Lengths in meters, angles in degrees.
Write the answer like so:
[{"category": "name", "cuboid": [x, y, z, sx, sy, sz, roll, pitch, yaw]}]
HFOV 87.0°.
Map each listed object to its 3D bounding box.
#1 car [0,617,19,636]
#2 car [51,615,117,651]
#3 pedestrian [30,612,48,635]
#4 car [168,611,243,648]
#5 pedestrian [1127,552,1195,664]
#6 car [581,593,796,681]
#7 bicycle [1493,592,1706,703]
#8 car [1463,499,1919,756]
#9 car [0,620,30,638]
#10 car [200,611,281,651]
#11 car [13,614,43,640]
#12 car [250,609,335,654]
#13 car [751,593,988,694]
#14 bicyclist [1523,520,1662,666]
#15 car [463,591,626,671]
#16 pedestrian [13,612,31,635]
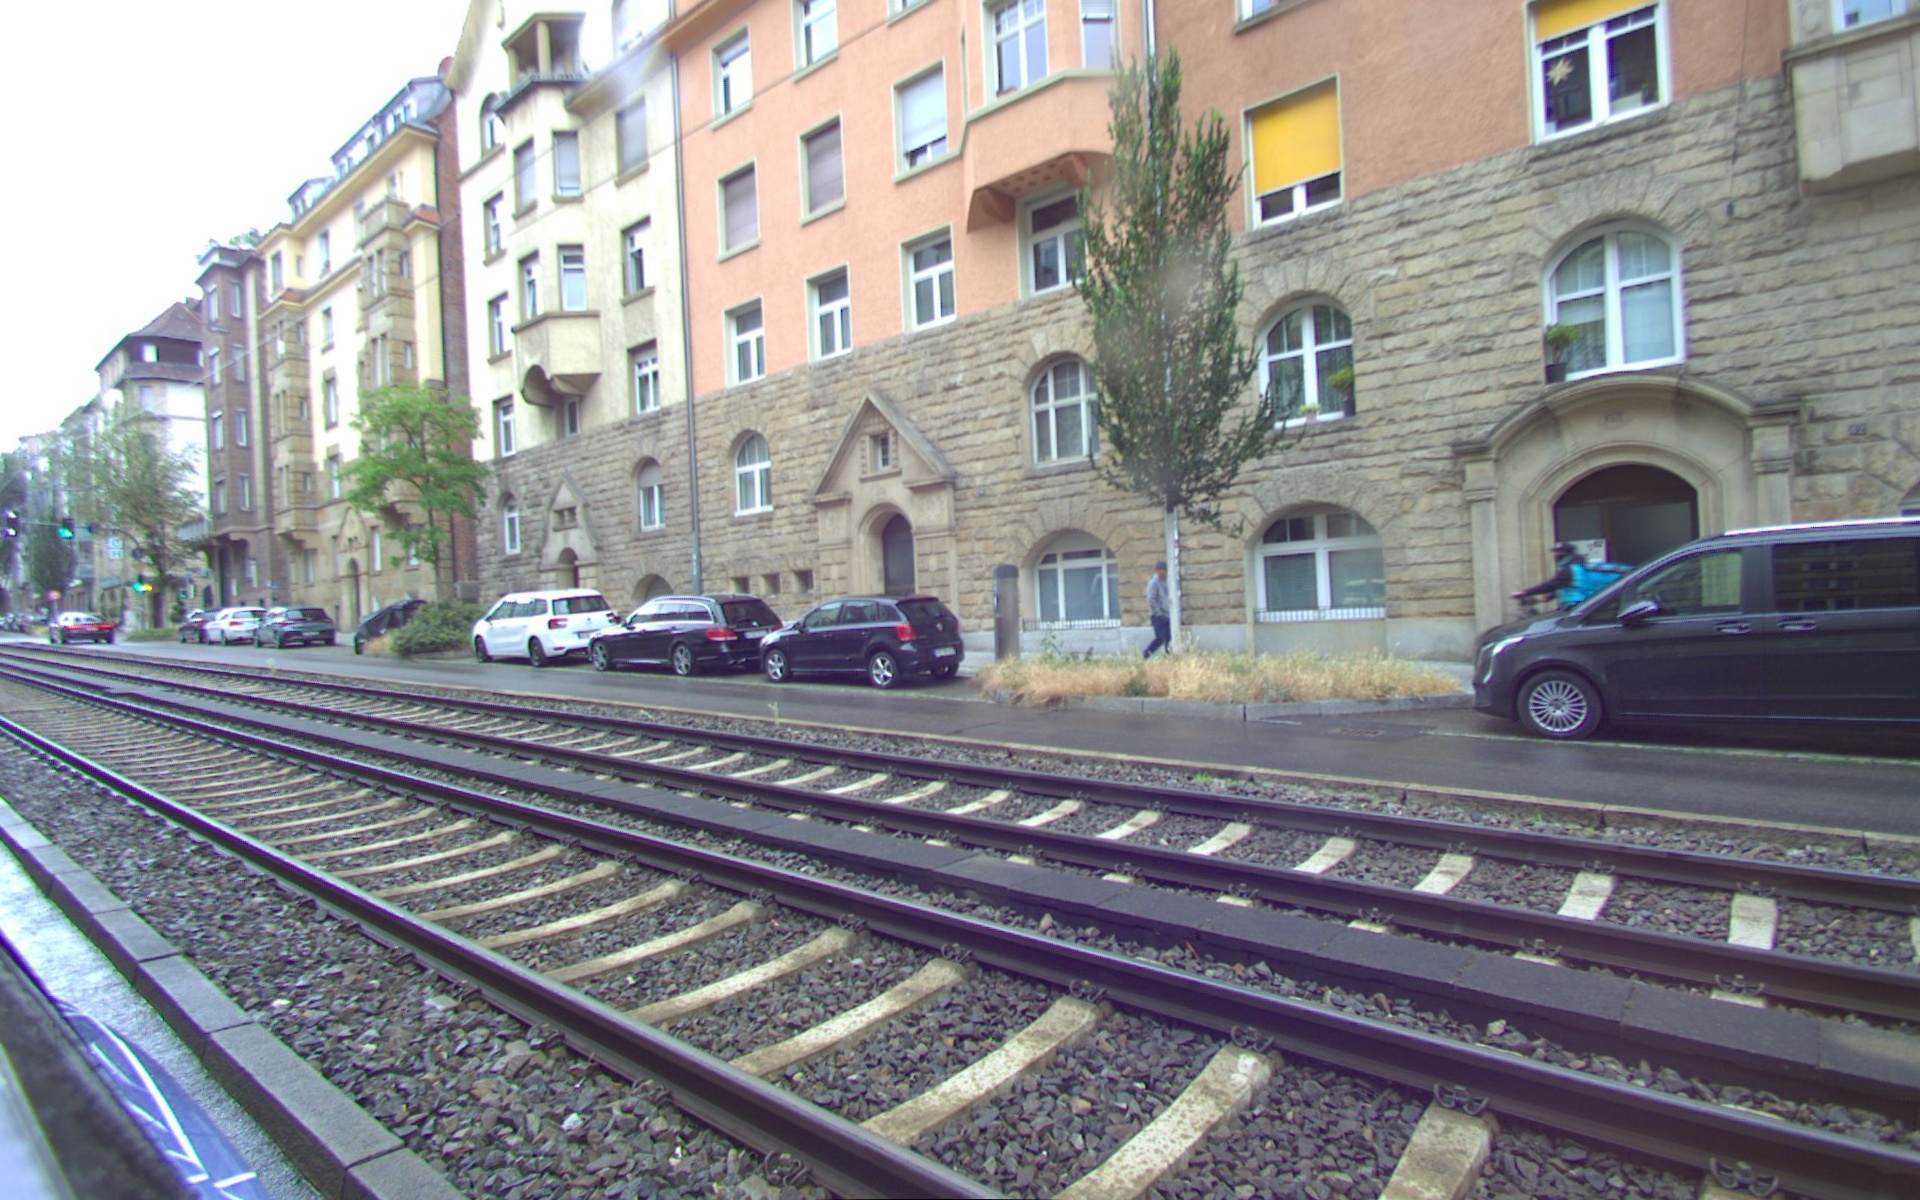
[{"category": "car", "cuboid": [-80.918, 2.268, 85.417, 3.843, 1.527, 1.748, -1, 0, 41]}, {"category": "car", "cuboid": [-40.679, 1.494, 46.949, 4.964, 1.535, 1.783, -1, 0, 43]}, {"category": "pedestrian", "cuboid": [-82.777, 2.090, 90.956, 1.163, 1.972, 1.042, -1, 0, 43]}, {"category": "car", "cuboid": [-32.146, 1.254, 43.089, 3.843, 1.452, 1.748, -1, 0, 41]}, {"category": "pedestrian", "cuboid": [3.081, 0.123, 15.506, 0.765, 1.654, 0.692, -1, 0, 41]}, {"category": "car", "cuboid": [-5.440, 0.691, 19.940, 4.599, 1.506, 1.824, -1, 0, 41]}, {"category": "bicycle", "cuboid": [7.481, 0.522, 11.894, 2.035, 1.195, 0.816, -1, 0, 39]}, {"category": "car", "cuboid": [7.343, 0.211, 8.984, 4.823, 1.956, 1.973, -1, 0, 41]}, {"category": "car", "cuboid": [-74.291, 2.262, 79.343, 3.843, 1.321, 1.563, -1, 0, 41]}, {"category": "car", "cuboid": [-28.287, 1.201, 39.766, 4.030, 1.452, 1.748, -1, 1, 42]}, {"category": "car", "cuboid": [-69.043, 1.974, 74.978, 1.561, 1.691, 3.794, -2, 2, -43]}, {"category": "car", "cuboid": [-23.686, 1.086, 35.863, 3.845, 1.452, 1.656, -1, 1, 43]}, {"category": "car", "cuboid": [-1.559, 0.663, 16.919, 3.638, 1.508, 1.912, -1, 0, 38]}, {"category": "bicyclist", "cuboid": [7.447, -0.066, 11.923, 1.252, 1.609, 0.875, -2, -1, 40]}, {"category": "car", "cuboid": [-9.748, 0.695, 23.614, 4.144, 1.668, 1.843, -1, 0, 41]}, {"category": "pedestrian", "cuboid": [-83.515, 2.089, 90.102, 1.163, 1.972, 1.042, -1, 0, 43]}]
